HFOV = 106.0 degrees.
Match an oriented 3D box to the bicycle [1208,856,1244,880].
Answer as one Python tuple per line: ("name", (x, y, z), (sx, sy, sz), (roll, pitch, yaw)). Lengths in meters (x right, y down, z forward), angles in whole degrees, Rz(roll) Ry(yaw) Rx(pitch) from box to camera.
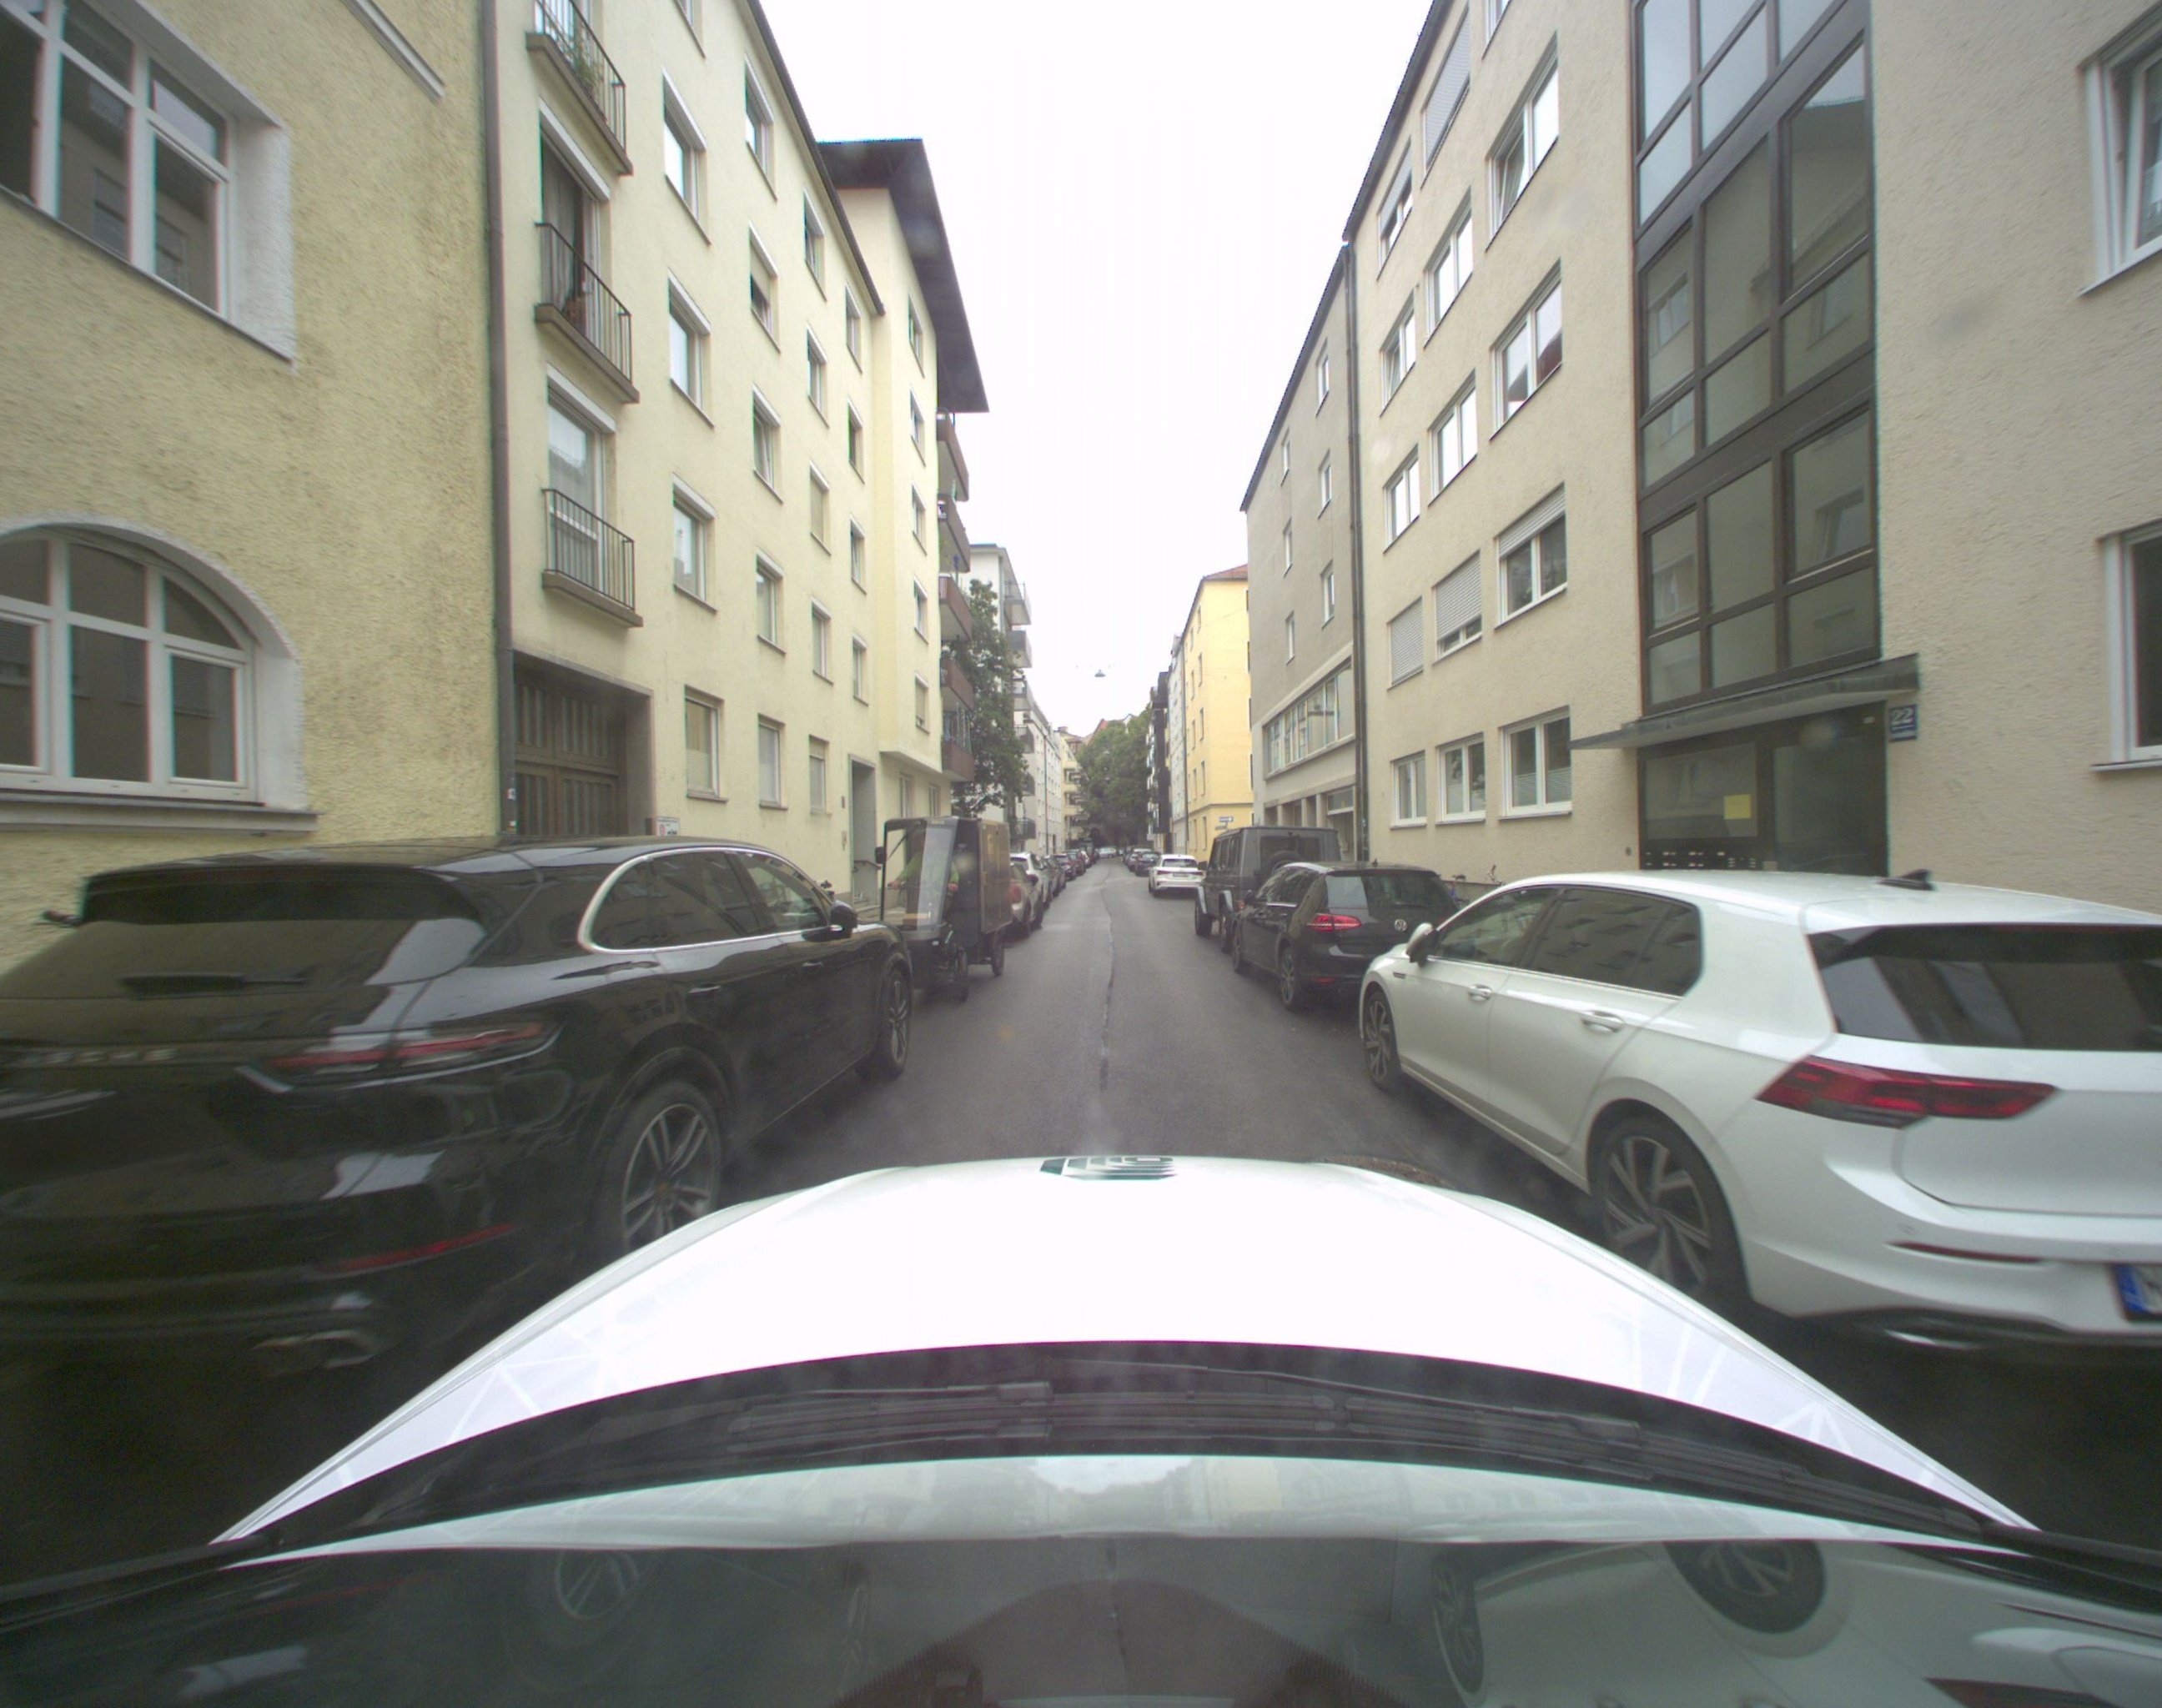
("bicycle", (7.818, 0.744, 43.951), (1.802, 1.174, 0.505), (-3, 2, -1))

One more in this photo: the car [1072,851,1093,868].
("car", (0.200, 0.494, 76.095), (1.770, 1.452, 4.047), (-4, 0, 2))

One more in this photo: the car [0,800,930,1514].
("car", (-2.260, 0.738, 4.143), (1.871, 1.660, 4.418), (-2, 0, 3))

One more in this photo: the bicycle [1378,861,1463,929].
("bicycle", (5.762, 0.661, 13.933), (0.642, 1.028, 1.797), (-5, 0, 1))

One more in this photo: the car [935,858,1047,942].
("car", (-1.696, 0.829, 16.474), (1.646, 1.435, 3.804), (-2, 0, 2))

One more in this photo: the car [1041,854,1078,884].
("car", (-1.121, 0.778, 43.993), (1.686, 1.442, 3.945), (-2, 0, 3))

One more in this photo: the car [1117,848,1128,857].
("car", (6.957, -0.331, 136.263), (1.636, 1.383, 3.747), (-4, 0, 2))

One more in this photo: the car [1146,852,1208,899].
("car", (3.352, 0.705, 29.071), (1.812, 1.408, 3.954), (0, 3, 1))

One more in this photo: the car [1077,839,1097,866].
("car", (0.699, -0.203, 90.751), (1.929, 2.801, 4.534), (-4, 0, 2))

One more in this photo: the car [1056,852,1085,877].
("car", (-0.660, 0.620, 51.956), (1.687, 1.442, 3.978), (-2, 0, 1))

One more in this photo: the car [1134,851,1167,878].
("car", (4.159, 0.591, 49.121), (1.744, 1.469, 4.344), (1, 1, 2))

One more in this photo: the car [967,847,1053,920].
("car", (-1.764, 0.711, 21.637), (1.759, 1.675, 4.368), (-2, 0, 1))

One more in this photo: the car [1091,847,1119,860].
("car", (3.520, -0.067, 119.320), (3.873, 1.584, 1.648), (-4, 0, 0))

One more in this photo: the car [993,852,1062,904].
("car", (-1.701, 0.745, 27.307), (1.758, 1.483, 4.427), (-2, 1, 3))

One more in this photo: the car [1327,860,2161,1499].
("car", (2.717, 0.771, 4.043), (1.706, 1.486, 4.243), (0, 0, 0))

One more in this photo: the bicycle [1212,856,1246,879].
("bicycle", (7.868, 0.696, 43.429), (1.707, 1.139, 0.374), (-3, 2, 0))

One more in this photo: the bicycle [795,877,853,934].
("bicycle", (-4.991, 0.974, 15.928), (0.511, 0.999, 1.860), (1, 0, 1))

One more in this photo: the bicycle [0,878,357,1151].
("bicycle", (-5.207, 0.803, 4.743), (0.533, 1.279, 1.552), (1, -1, 1))

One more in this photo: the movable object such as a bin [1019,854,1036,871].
("movable object such as a bin", (-4.411, 0.686, 67.252), (1.161, 1.337, 1.026), (-4, 0, 4))

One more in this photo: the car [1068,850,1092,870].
("car", (-0.080, 0.497, 70.755), (1.770, 1.487, 4.522), (-4, 0, 3))

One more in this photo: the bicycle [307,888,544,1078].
("bicycle", (-5.166, 0.949, 6.557), (0.592, 1.279, 1.552), (1, -1, 1))

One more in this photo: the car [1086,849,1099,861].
("car", (1.525, 0.139, 109.349), (1.636, 1.383, 3.484), (-4, 0, 2))

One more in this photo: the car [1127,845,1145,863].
("car", (6.266, 0.026, 93.531), (1.822, 1.999, 4.417), (2, 0, 2))

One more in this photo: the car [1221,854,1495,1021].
("car", (2.827, 0.754, 9.367), (1.706, 1.486, 4.243), (0, 0, 0))

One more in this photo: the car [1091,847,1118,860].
("car", (3.476, -0.046, 121.430), (3.873, 1.584, 1.648), (-4, 0, 0))

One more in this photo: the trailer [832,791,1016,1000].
("trailer", (-1.737, 0.441, 9.955), (1.349, 2.116, 3.322), (-1, -1, 4))

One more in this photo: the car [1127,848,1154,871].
("car", (4.286, 0.388, 59.133), (1.676, 1.567, 4.416), (1, 0, 1))

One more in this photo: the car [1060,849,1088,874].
("car", (-0.470, 0.514, 57.854), (1.770, 1.629, 4.416), (-2, 0, 2))

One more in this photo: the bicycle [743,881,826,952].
("bicycle", (-4.889, 0.997, 13.539), (0.728, 1.027, 1.813), (0, 1, -1))

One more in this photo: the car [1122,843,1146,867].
("car", (4.353, 0.064, 66.762), (1.822, 1.910, 4.418), (1, 0, 2))

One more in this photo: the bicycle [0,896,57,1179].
("bicycle", (-5.193, 0.834, 3.115), (0.533, 1.279, 1.552), (1, -1, 1))

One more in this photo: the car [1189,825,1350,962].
("car", (3.044, 0.560, 14.069), (1.745, 1.975, 4.342), (1, 0, 0))

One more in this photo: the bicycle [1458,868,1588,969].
("bicycle", (5.603, 0.770, 10.453), (0.652, 1.106, 1.761), (-5, 0, 1))
